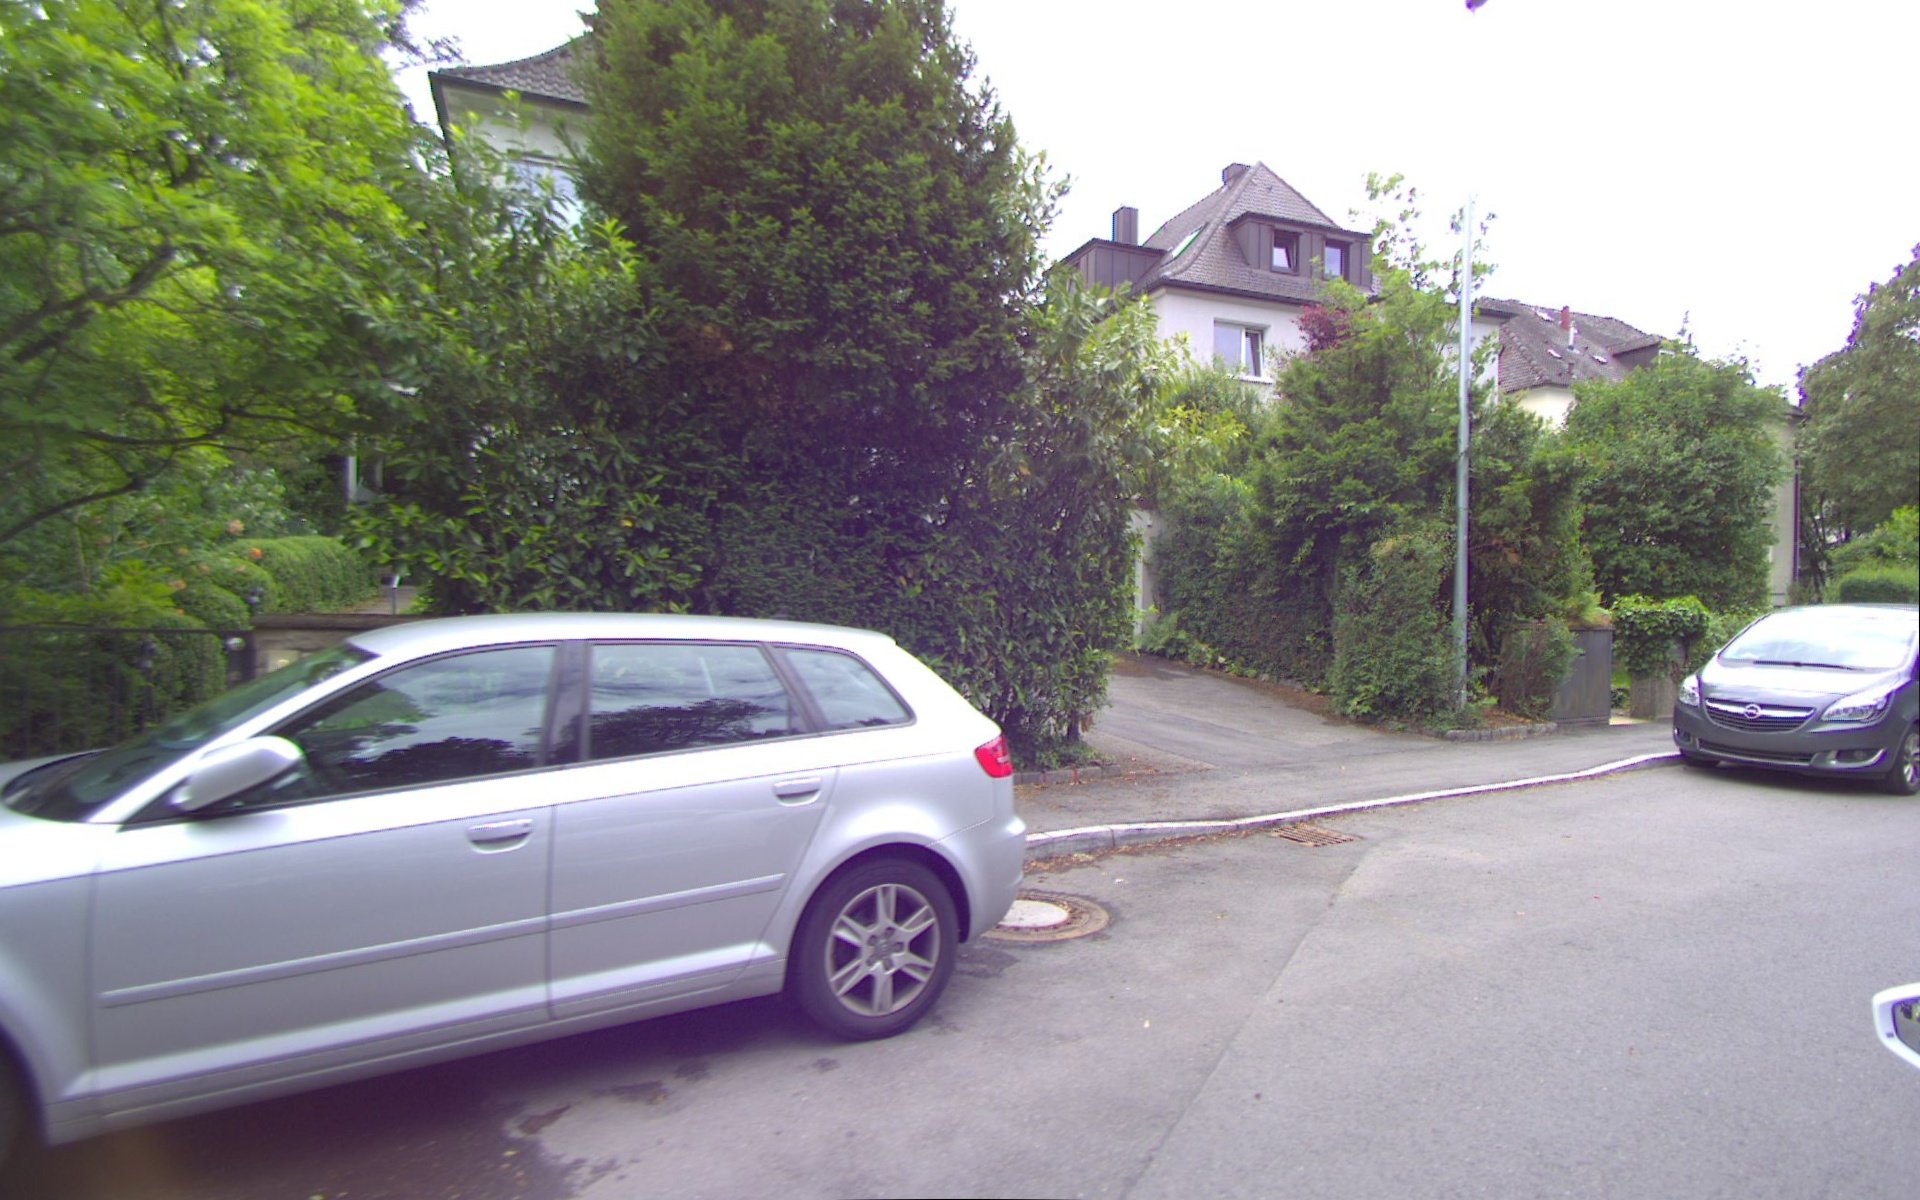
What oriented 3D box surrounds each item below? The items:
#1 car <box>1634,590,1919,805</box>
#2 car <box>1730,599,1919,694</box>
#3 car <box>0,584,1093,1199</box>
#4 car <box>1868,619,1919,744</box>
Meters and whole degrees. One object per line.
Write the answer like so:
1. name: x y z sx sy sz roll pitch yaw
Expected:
1. car: 8.680 0.799 9.764 4.515 1.654 1.722 1 1 -31
2. car: 17.987 0.871 20.116 1.798 1.659 3.691 1 1 -16
3. car: -1.641 0.725 3.466 4.046 1.469 1.615 1 -1 -31
4. car: 13.405 1.010 12.339 4.836 1.431 1.747 1 1 -28
